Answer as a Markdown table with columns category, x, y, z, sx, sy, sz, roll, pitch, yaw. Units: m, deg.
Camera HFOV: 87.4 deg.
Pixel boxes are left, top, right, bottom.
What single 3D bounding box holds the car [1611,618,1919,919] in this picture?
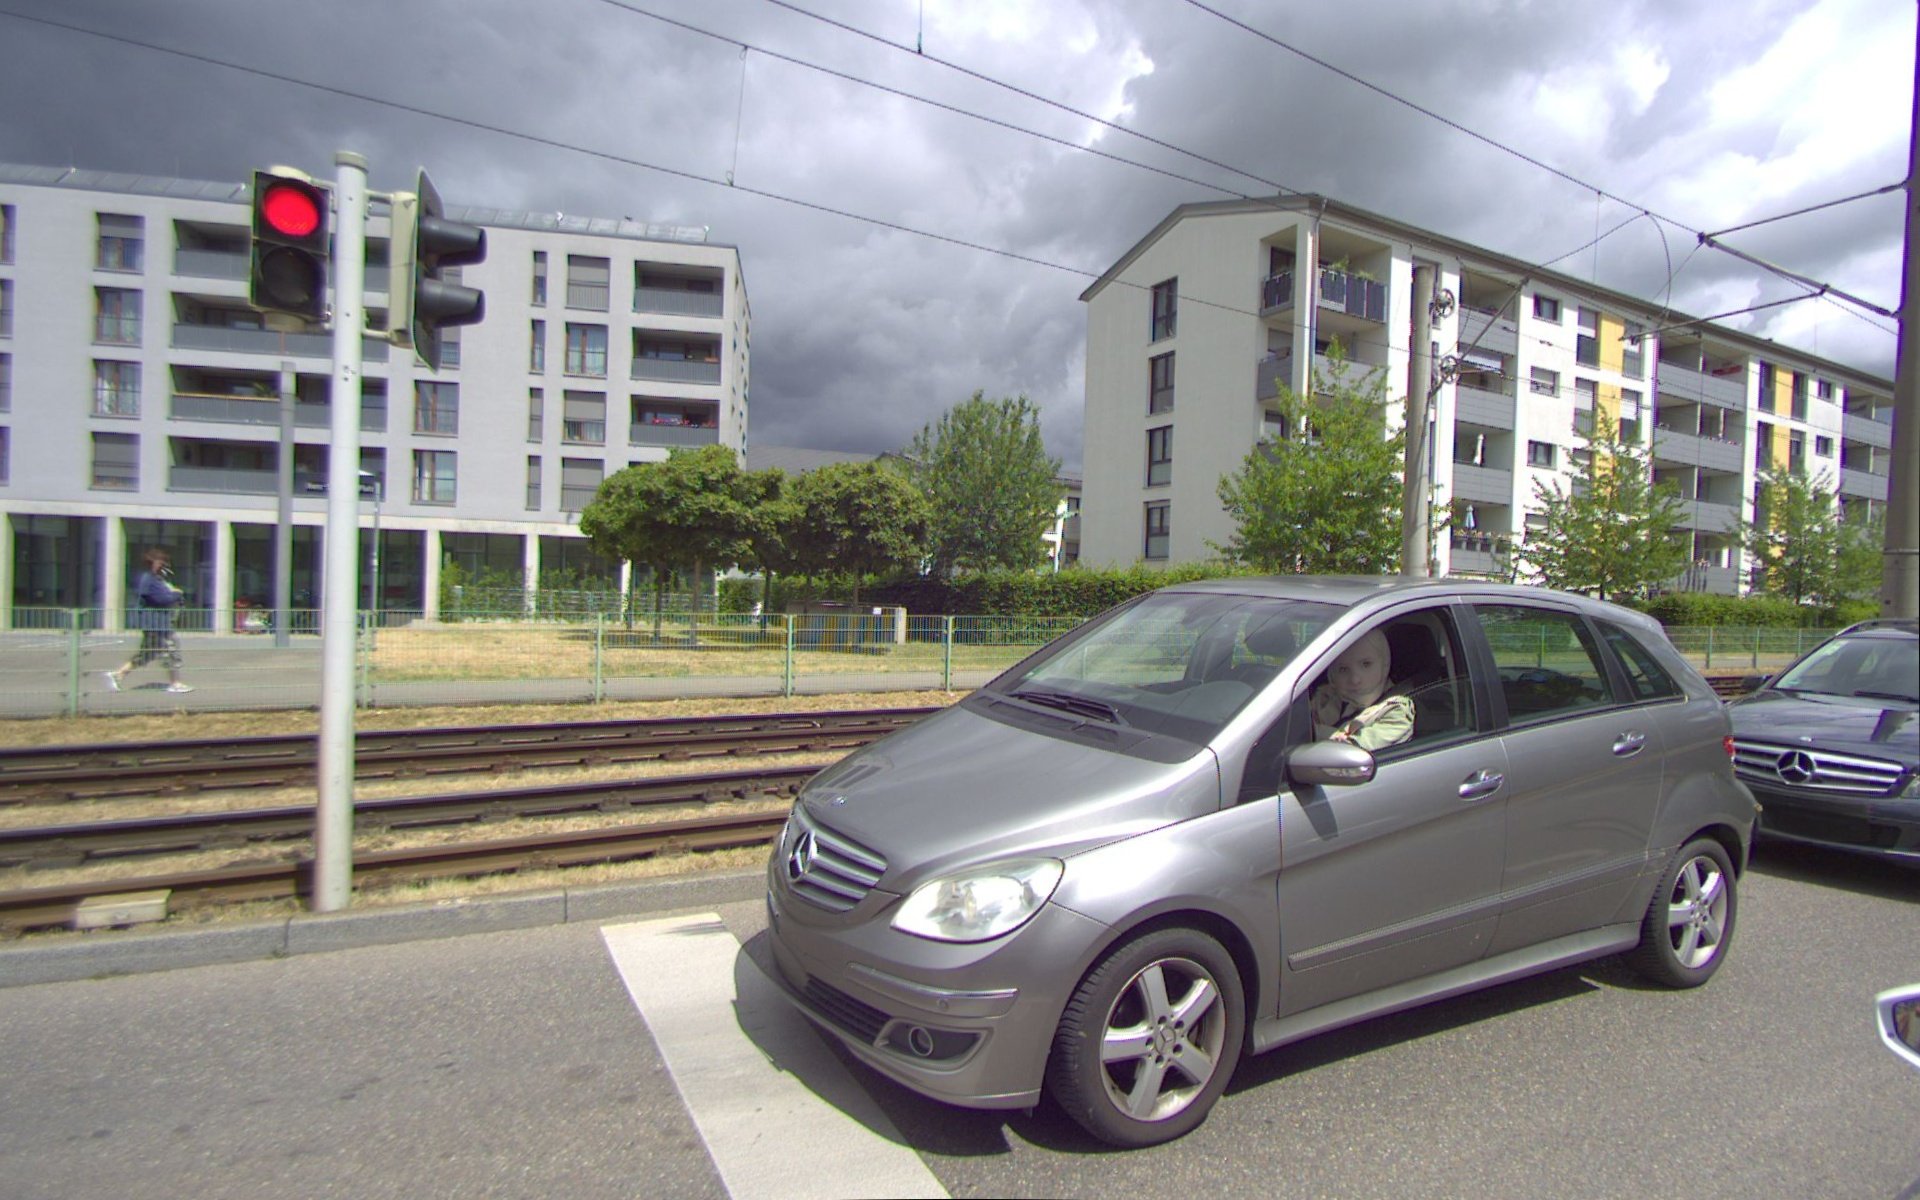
| category | x | y | z | sx | sy | sz | roll | pitch | yaw |
| --- | --- | --- | --- | --- | --- | --- | --- | --- | --- |
| car | 6.506 | 0.905 | 6.674 | 4.411 | 1.465 | 1.803 | 1 | 1 | -29 |

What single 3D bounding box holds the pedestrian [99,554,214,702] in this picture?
| category | x | y | z | sx | sy | sz | roll | pitch | yaw |
| --- | --- | --- | --- | --- | --- | --- | --- | --- | --- |
| pedestrian | -9.301 | 0.306 | 11.666 | 0.927 | 1.634 | 0.750 | 1 | 2 | -30 |

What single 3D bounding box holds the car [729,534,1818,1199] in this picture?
| category | x | y | z | sx | sy | sz | roll | pitch | yaw |
| --- | --- | --- | --- | --- | --- | --- | --- | --- | --- |
| car | 1.349 | 0.705 | 4.087 | 4.123 | 1.682 | 1.850 | 1 | 1 | -28 |
